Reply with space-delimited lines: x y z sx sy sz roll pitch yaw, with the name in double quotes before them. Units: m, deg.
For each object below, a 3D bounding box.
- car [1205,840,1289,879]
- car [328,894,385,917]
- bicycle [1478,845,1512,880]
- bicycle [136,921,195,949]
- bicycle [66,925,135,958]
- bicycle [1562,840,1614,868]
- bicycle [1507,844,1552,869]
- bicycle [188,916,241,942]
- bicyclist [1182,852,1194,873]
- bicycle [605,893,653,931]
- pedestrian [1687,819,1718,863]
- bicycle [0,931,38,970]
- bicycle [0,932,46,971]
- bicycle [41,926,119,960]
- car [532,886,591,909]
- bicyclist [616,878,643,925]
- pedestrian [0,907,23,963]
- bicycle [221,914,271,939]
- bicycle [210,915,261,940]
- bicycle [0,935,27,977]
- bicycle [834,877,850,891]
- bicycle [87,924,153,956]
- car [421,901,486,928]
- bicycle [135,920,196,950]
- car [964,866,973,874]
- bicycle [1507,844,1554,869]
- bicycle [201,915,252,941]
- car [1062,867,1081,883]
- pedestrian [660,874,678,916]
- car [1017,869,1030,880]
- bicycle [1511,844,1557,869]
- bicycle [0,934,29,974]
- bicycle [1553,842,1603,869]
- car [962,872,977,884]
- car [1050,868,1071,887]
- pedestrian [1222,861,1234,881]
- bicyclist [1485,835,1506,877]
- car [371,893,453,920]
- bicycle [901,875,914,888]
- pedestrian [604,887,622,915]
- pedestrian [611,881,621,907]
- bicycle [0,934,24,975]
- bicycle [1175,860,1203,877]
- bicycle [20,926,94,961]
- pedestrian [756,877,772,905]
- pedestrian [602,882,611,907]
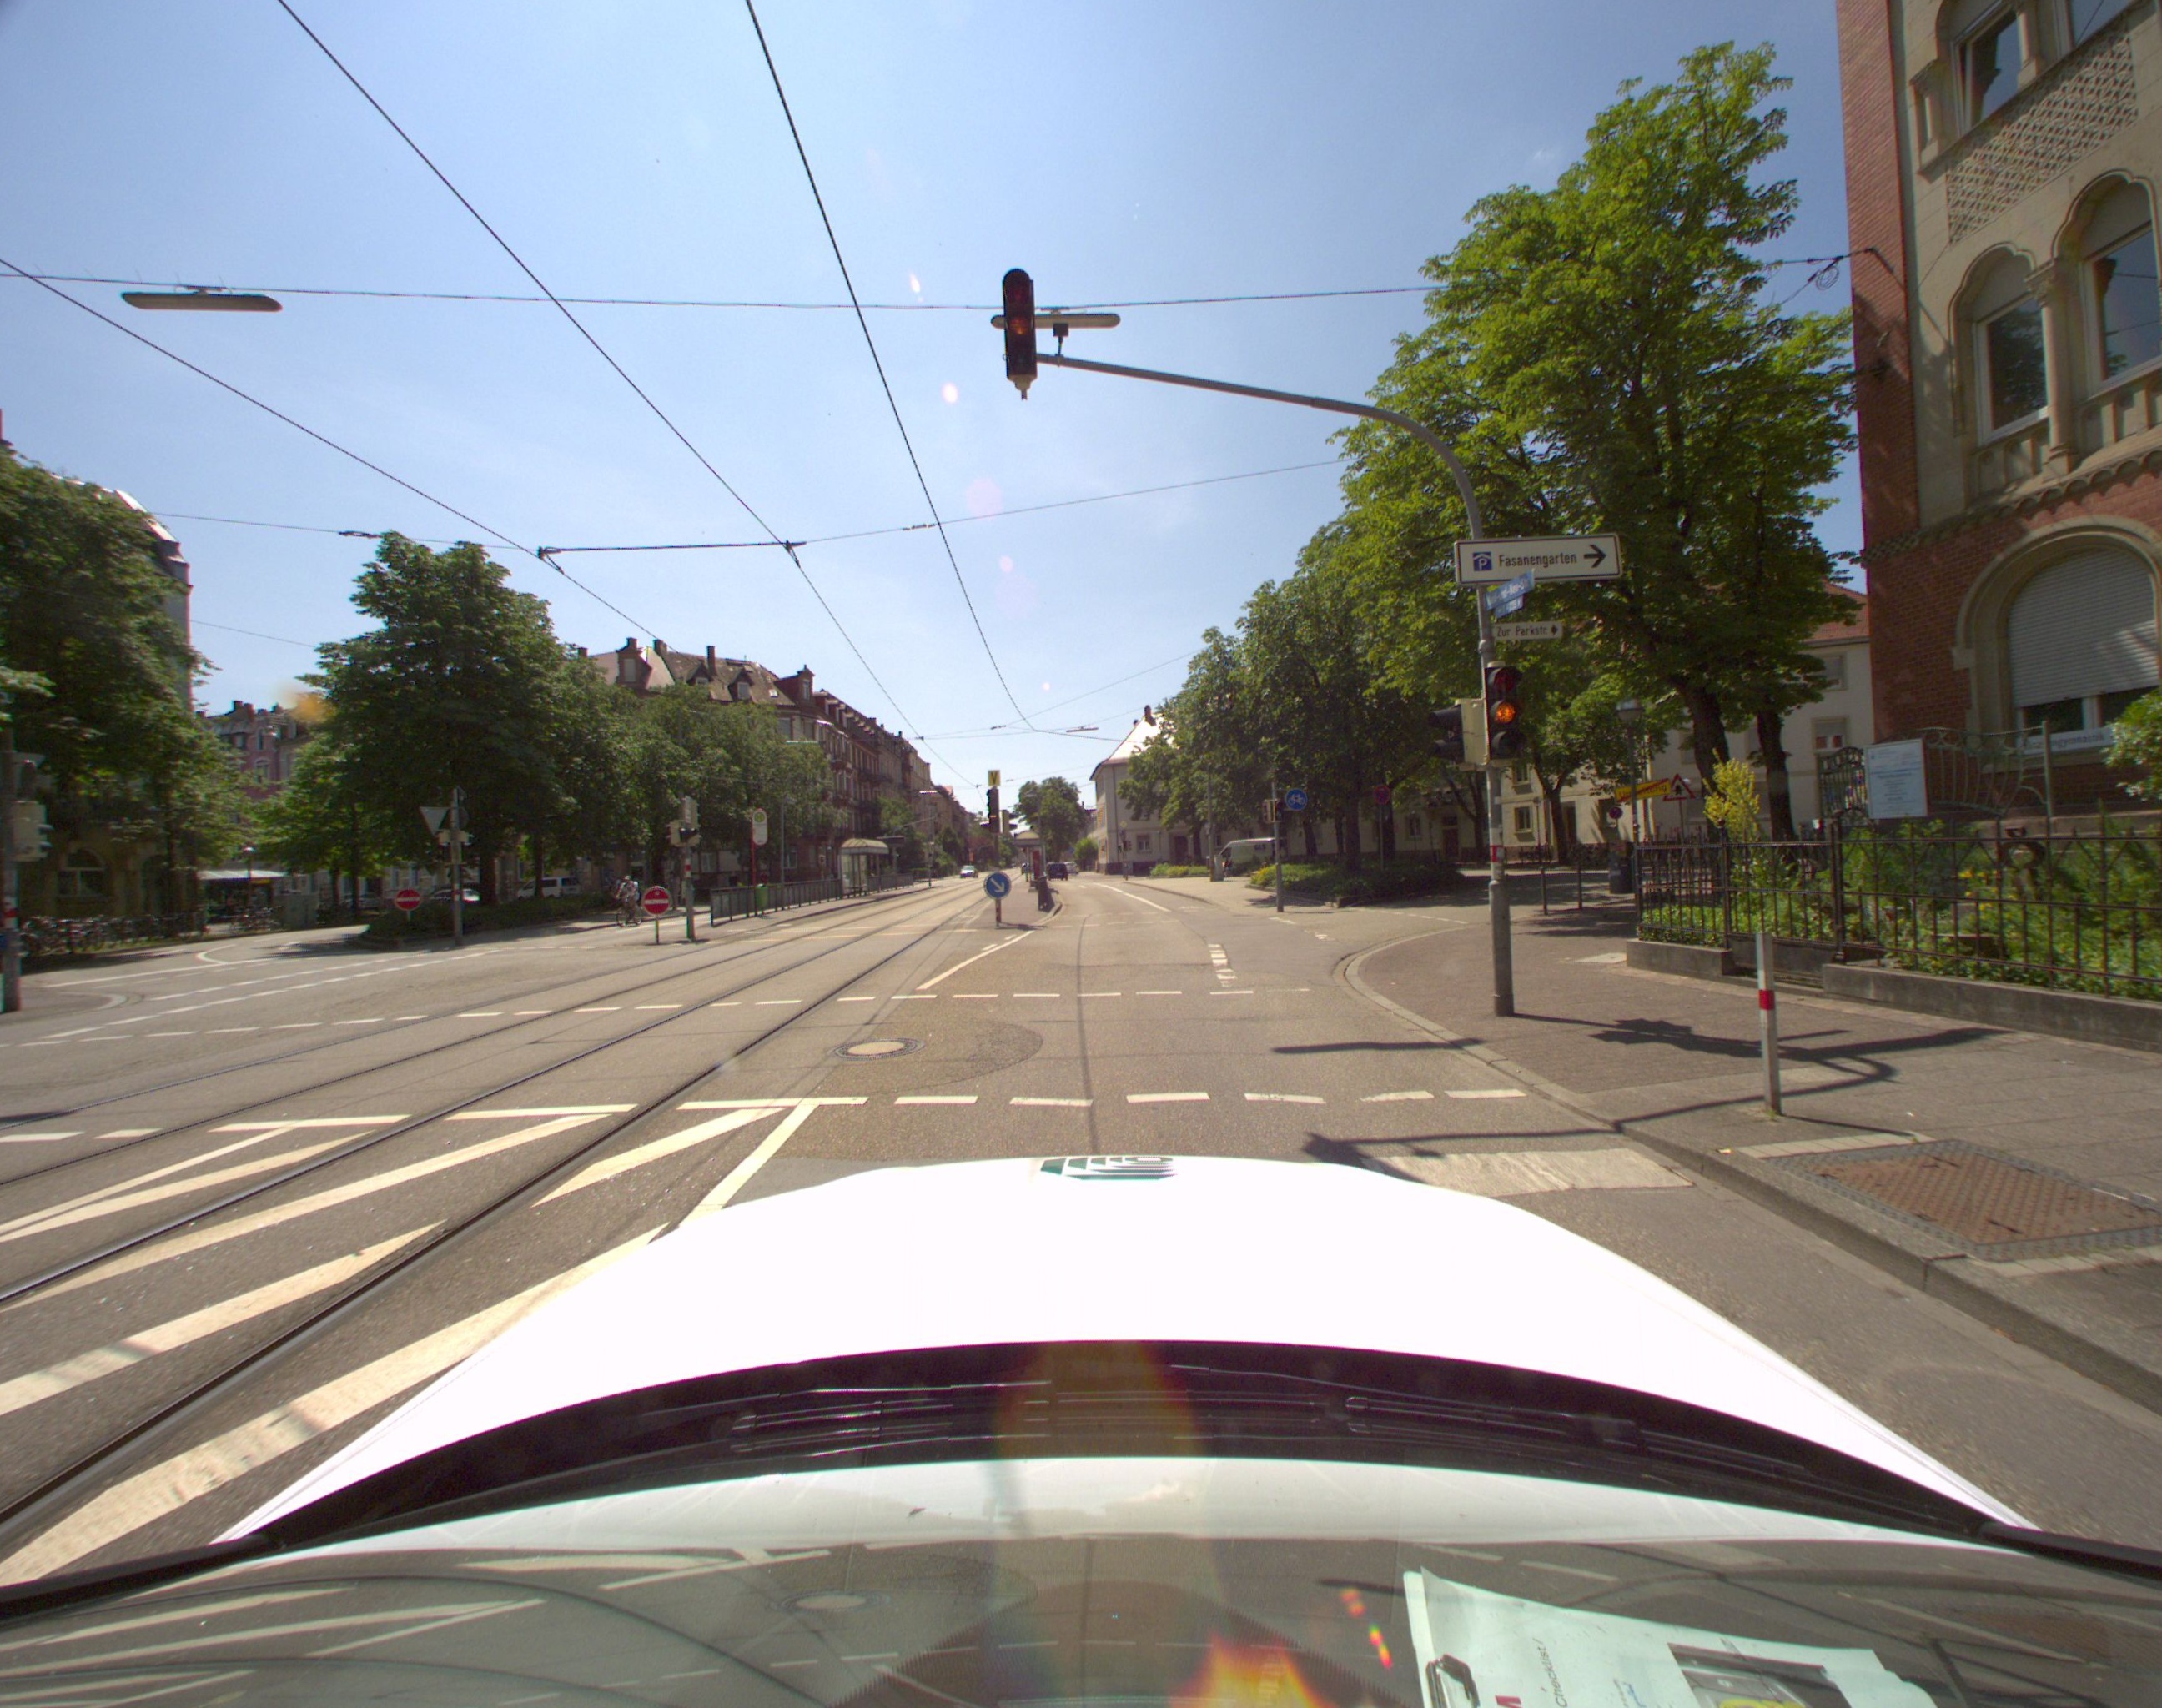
"car" 11.984 0.457 59.033 2.011 2.590 5.778 -2 -1 -43
"car" -58.505 4.184 65.786 3.953 1.618 1.769 -3 -1 20
"bicycle" 18.402 0.370 36.248 0.588 1.485 2.171 -2 -1 6
"bicycle" -34.485 3.037 30.676 1.488 0.956 0.407 -2 -1 -15
"bicycle" -32.607 2.908 27.099 1.488 0.956 0.407 -2 -1 -15
"bicycle" 25.694 0.016 41.305 2.140 1.300 0.548 -2 -1 8
"bicycle" 25.360 0.141 46.041 2.140 1.300 0.548 -2 -1 8
"bicycle" -35.491 3.053 33.382 1.488 0.956 0.407 -2 -1 -15
"bicyclist" 8.338 0.671 63.254 0.687 1.646 0.584 -3 -2 30
"bicycle" -15.522 1.965 28.027 0.627 1.157 1.975 -2 -1 -4
"pedestrian" 29.832 -0.617 39.124 0.805 2.014 0.770 -2 -1 -11
"bicycle" -28.856 2.579 21.464 0.286 0.974 1.683 -3 -2 39
"bicycle" -29.177 2.665 21.894 0.286 0.974 1.683 -3 -2 39
"bicycle" -32.405 2.873 26.382 1.671 0.974 0.388 -2 -1 -16
"car" -36.892 3.081 57.854 3.697 1.442 1.549 -3 -1 20
"bicyclist" -15.519 1.614 28.003 0.607 1.574 0.584 -2 -1 -4
"pedestrian" -35.421 2.653 26.709 0.608 1.777 0.625 -2 -1 0
"bicycle" -35.943 3.111 35.048 1.488 0.956 0.407 -2 -1 -15
"bicycle" -35.781 3.102 34.466 1.488 0.956 0.407 -2 -1 -15
"bicycle" -26.829 2.530 19.669 0.286 0.974 1.683 -3 -2 39
"bicycle" -21.805 2.746 74.355 0.360 1.169 1.529 -2 0 35
"bicycle" -32.782 2.935 27.786 1.488 0.956 0.407 -2 -1 -15
"car" -39.453 3.810 51.209 3.545 1.575 1.591 -3 -1 20
"bicycle" -33.314 2.941 29.650 1.488 0.956 0.407 -2 -1 -15
"car" -22.990 3.241 166.737 1.682 1.472 3.929 -6 -1 -6
"bicycle" 25.920 0.136 47.010 2.308 1.344 0.516 -2 -1 8
"bicycle" -35.615 3.088 33.953 1.488 0.956 0.407 -2 -1 -15
"car" -1.061 2.299 89.454 1.744 1.472 3.932 -6 -1 -4
"pedestrian" -18.824 1.846 37.186 0.509 1.879 0.494 -2 -1 1
"car" -8.072 2.921 114.073 1.524 1.456 3.354 -4 -1 -9
"bicycle" 25.826 0.141 46.482 2.224 1.347 0.516 -2 -1 8
"bicycle" -28.177 2.599 20.743 0.286 0.974 1.683 -3 -2 39
"bicycle" 25.781 0.067 42.239 2.140 1.300 0.548 -2 -1 8
"car" -13.518 2.866 98.491 1.538 1.339 3.712 -2 -1 -5
"car" -1.731 1.946 67.825 1.521 1.444 3.360 -4 -1 -3
"pedestrian" 8.226 0.943 45.664 0.507 1.092 0.478 -5 0 2
"bicyclist" 18.317 0.102 35.981 0.599 1.800 0.535 -2 -1 6
"car" -40.070 3.122 48.792 3.712 1.442 1.543 -2 -1 4
"bicycle" -19.020 3.057 89.382 0.595 1.356 2.416 -1 -2 -30
"pedestrian" -21.534 2.172 37.477 0.553 1.256 0.638 -1 -2 -44
"pedestrian" -33.826 2.902 59.266 0.566 1.825 0.630 -1 -2 -26
"bicycle" -27.121 2.508 19.823 0.286 0.974 1.683 -3 -2 39
"bicycle" 8.388 1.097 63.226 2.061 1.236 0.584 -3 -2 29
"bicycle" -31.998 2.786 25.456 1.488 0.956 0.407 -2 -1 -15
"pedestrian" -18.934 2.201 48.613 0.679 1.605 0.771 -2 -1 -7
"pedestrian" -34.617 2.965 59.455 0.509 1.768 0.524 -1 -2 -26
